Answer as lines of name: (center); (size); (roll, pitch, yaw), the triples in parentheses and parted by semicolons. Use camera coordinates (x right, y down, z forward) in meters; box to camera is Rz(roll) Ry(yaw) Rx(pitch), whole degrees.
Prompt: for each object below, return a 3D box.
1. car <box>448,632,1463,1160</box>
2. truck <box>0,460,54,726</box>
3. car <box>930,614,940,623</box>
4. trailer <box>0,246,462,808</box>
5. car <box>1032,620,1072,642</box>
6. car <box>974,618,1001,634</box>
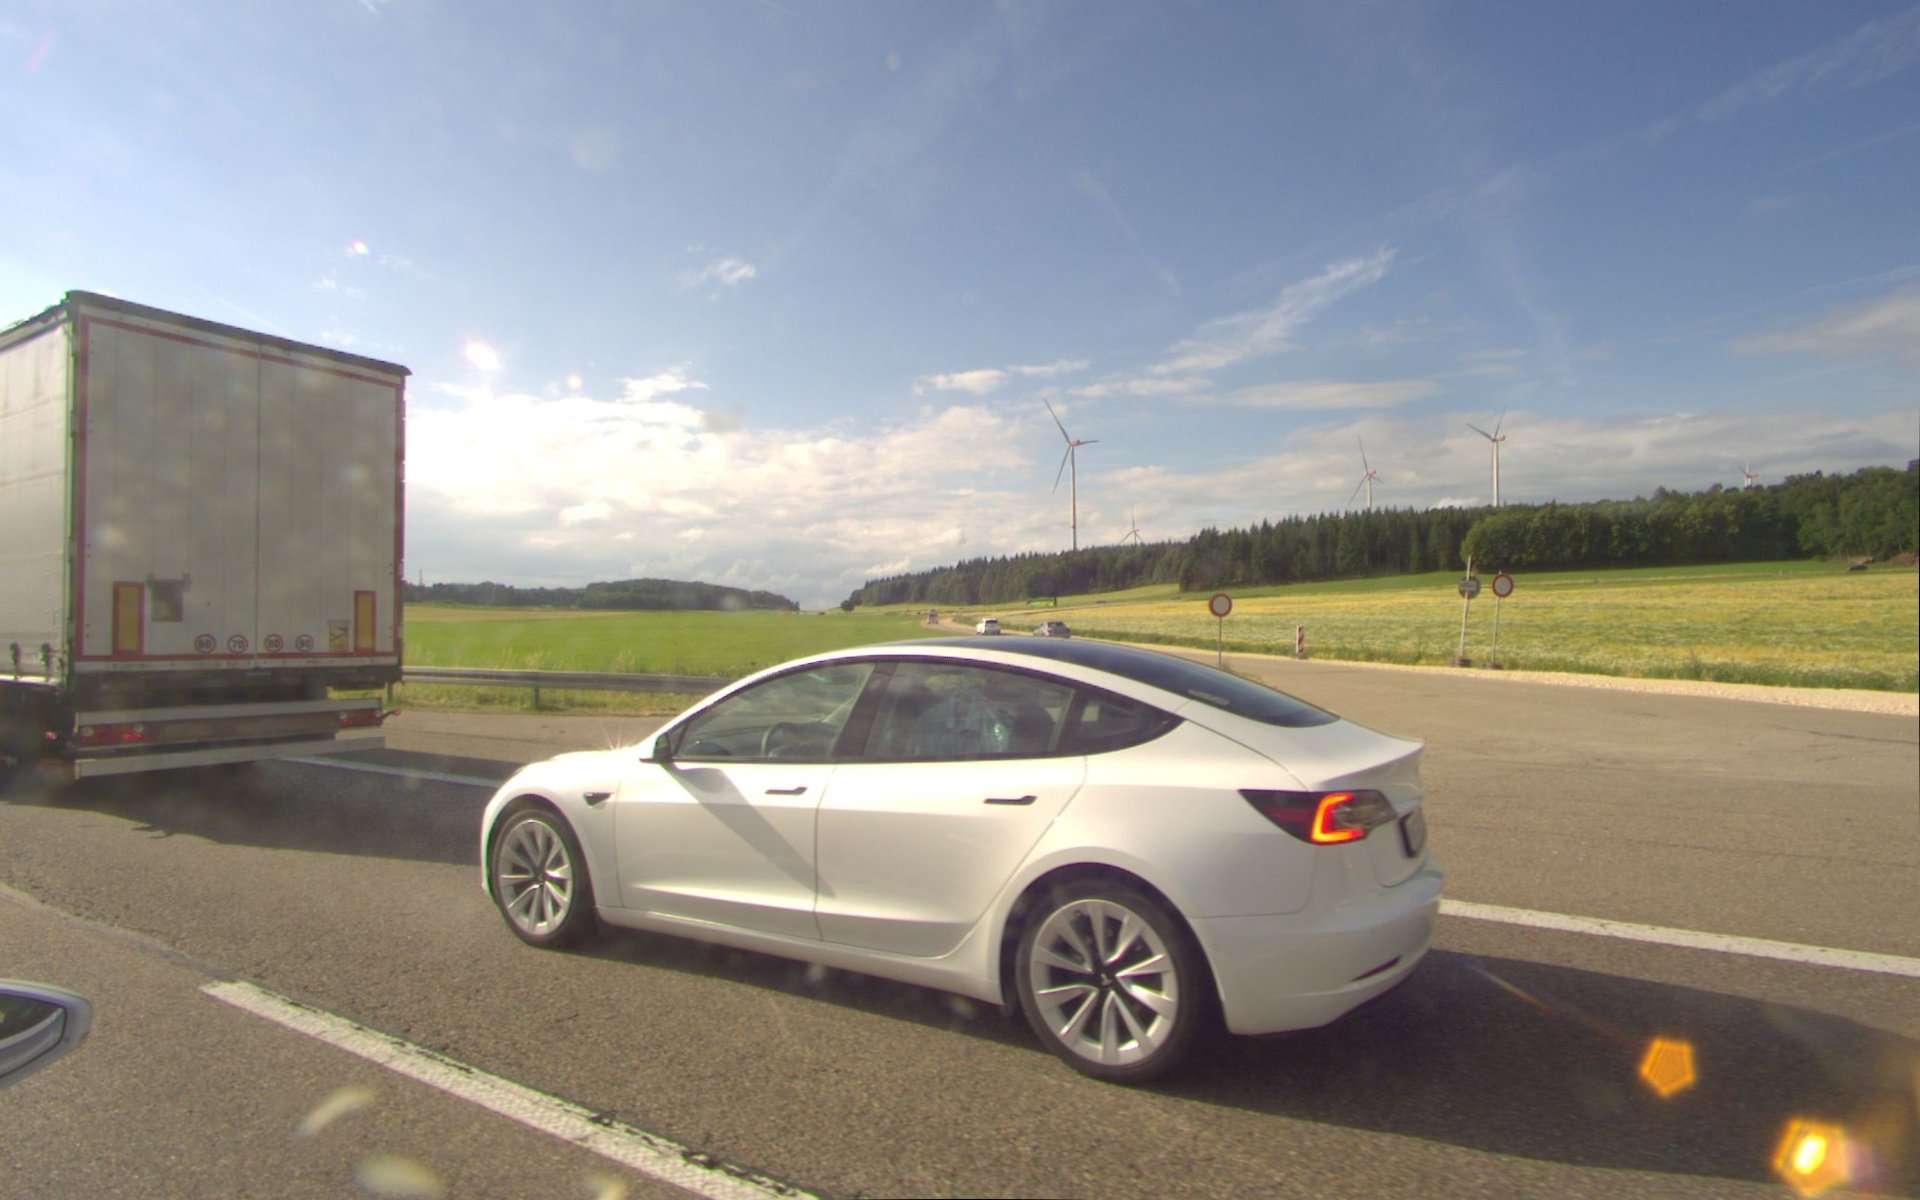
car: (-0.176, 0.863, 4.592); (4.370, 1.412, 1.787); (-1, -1, 30)
truck: (-17.338, -0.052, 15.907); (5.090, 4.066, 3.128); (-2, -2, 32)
car: (-4.499, 3.347, 180.268); (1.676, 1.450, 4.232); (-1, -1, -5)
trailer: (-11.301, -0.267, 12.079); (13.178, 4.061, 3.125); (-2, -2, 32)
car: (6.231, 2.074, 68.090); (1.677, 1.450, 4.230); (-1, -1, -10)
car: (2.541, 2.413, 94.441); (1.677, 1.450, 4.230); (0, -1, -11)
